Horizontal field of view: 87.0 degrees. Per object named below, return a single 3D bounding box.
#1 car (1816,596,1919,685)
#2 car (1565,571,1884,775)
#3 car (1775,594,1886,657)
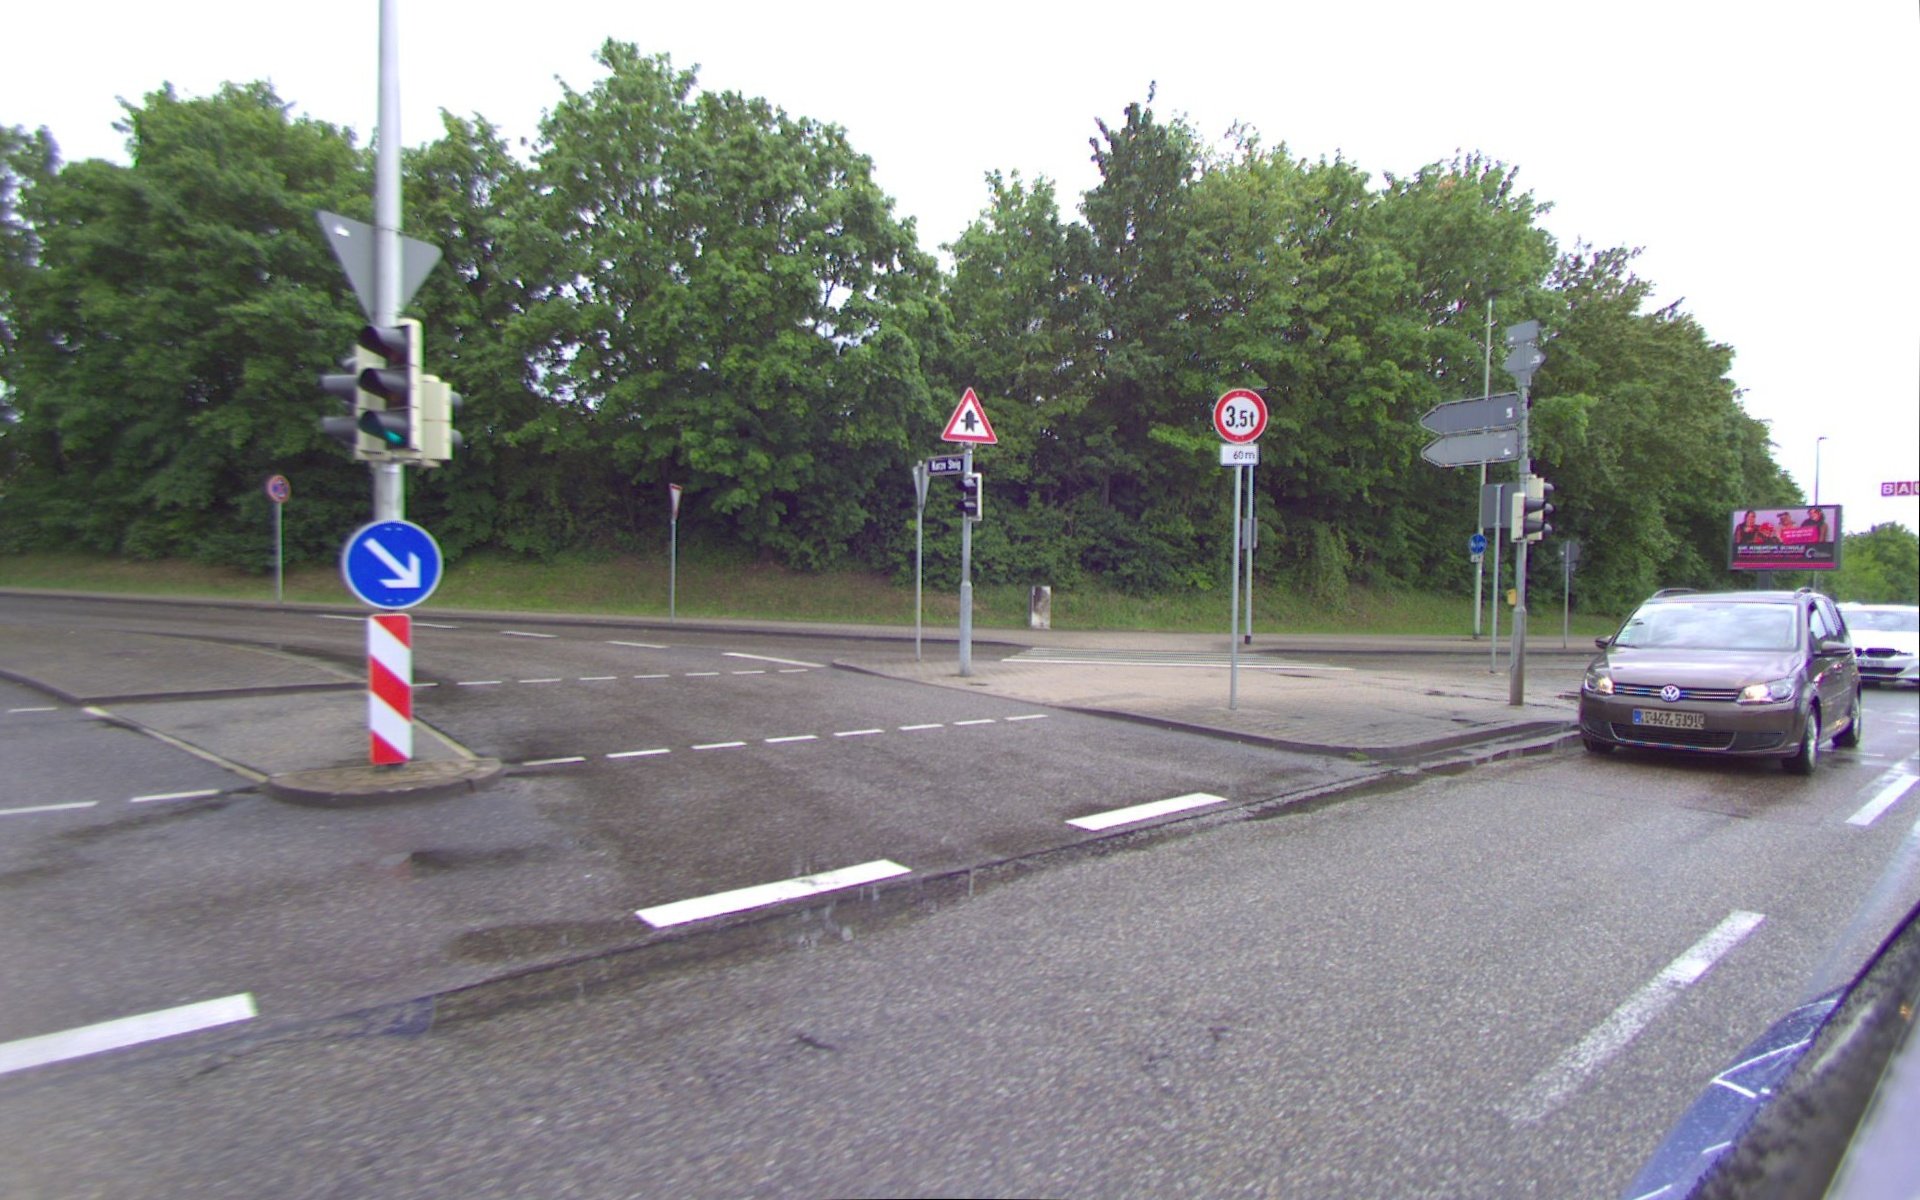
[{"bbox_3d":[17.371,0.669,18.724,4.600,1.475,1.782,0,0,-43],"label":"car"},{"bbox_3d":[7.688,0.575,10.043,3.910,1.629,1.750,0,0,-41],"label":"car"},{"bbox_3d":[26.911,0.740,31.241,4.241,1.749,1.997,1,1,-41],"label":"car"}]
